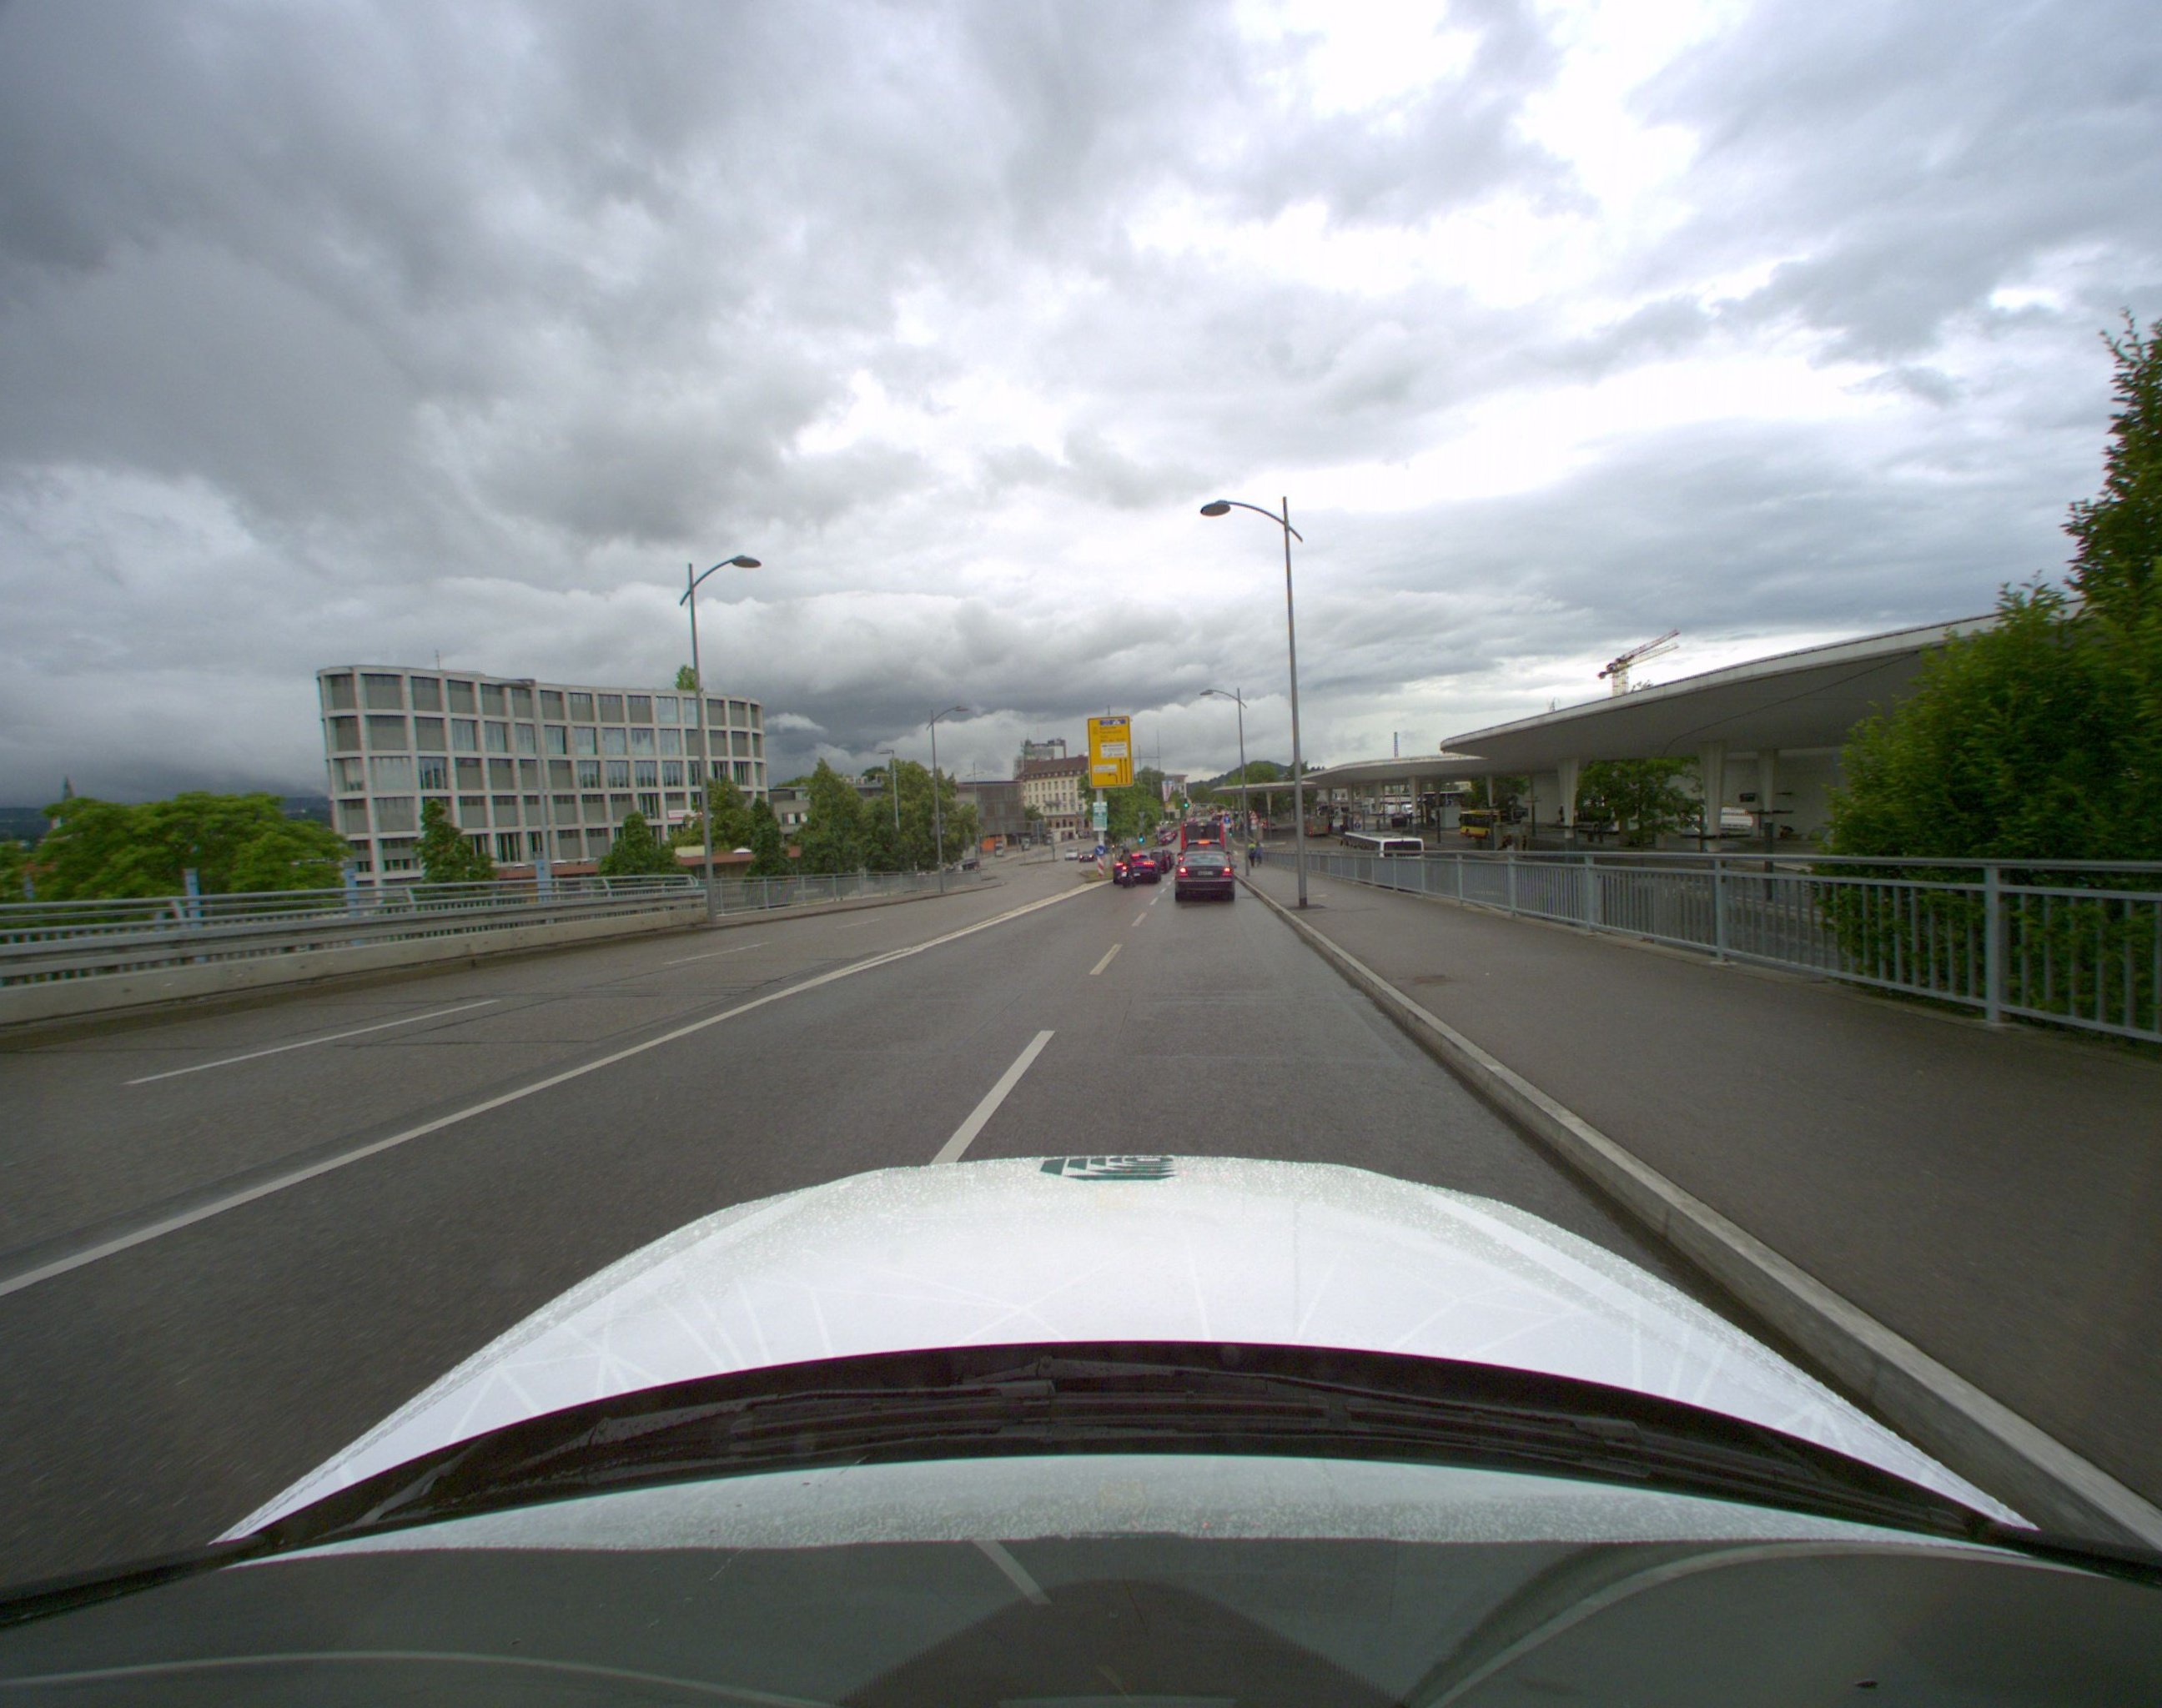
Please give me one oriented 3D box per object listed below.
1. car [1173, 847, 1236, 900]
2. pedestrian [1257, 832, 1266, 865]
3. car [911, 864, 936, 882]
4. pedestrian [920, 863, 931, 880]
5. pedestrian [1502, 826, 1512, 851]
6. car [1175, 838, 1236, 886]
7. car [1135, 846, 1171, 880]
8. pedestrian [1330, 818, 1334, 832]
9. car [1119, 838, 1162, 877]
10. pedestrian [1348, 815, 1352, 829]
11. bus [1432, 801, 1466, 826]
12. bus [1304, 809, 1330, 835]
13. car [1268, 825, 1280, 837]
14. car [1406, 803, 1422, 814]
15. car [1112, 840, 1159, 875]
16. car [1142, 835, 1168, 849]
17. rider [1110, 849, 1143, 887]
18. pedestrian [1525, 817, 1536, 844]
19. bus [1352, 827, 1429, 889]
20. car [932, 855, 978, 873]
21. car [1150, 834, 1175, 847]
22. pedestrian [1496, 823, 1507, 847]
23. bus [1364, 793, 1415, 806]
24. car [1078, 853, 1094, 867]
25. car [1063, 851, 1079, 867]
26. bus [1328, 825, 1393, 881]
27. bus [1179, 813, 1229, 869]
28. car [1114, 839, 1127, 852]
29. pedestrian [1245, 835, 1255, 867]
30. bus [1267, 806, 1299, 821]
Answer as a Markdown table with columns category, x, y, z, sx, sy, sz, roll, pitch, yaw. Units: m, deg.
| category | x | y | z | sx | sy | sz | roll | pitch | yaw |
| --- | --- | --- | --- | --- | --- | --- | --- | --- | --- |
| car | 3.668 | 0.509 | 24.047 | 1.696 | 1.419 | 3.735 | 0 | 1 | 9 |
| pedestrian | 11.503 | -0.347 | 51.882 | 0.421 | 2.014 | 0.485 | -3 | -2 | 10 |
| car | -19.522 | 2.326 | 100.909 | 2.005 | 2.013 | 3.964 | 1 | 1 | -28 |
| pedestrian | -12.883 | 1.442 | 67.564 | 0.644 | 1.408 | 0.532 | -3 | 2 | 11 |
| pedestrian | 34.633 | -1.272 | 66.203 | 0.540 | 2.013 | 0.581 | -3 | 0 | 9 |
| car | 4.838 | 0.270 | 31.267 | 1.813 | 1.687 | 4.017 | -1 | 1 | 15 |
| car | 4.577 | 0.513 | 51.389 | 1.982 | 2.006 | 4.009 | -1 | 1 | 8 |
| pedestrian | 37.373 | -4.310 | 121.332 | 0.421 | 2.013 | 0.485 | -3 | 0 | 10 |
| car | 3.296 | 0.133 | 44.487 | 1.982 | 2.006 | 4.011 | -1 | 1 | 9 |
| pedestrian | 39.364 | -4.638 | 119.099 | 0.421 | 2.014 | 0.485 | -3 | -2 | 10 |
| bus | 50.949 | -5.662 | 113.055 | 2.584 | 3.209 | 7.015 | -3 | 2 | 10 |
| bus | 35.515 | -4.785 | 122.858 | 3.156 | 3.600 | 10.549 | -3 | 1 | 13 |
| car | 35.284 | -4.262 | 148.744 | 1.979 | 2.013 | 4.016 | -3 | 1 | 14 |
| car | 67.269 | -9.146 | 164.578 | 1.982 | 2.013 | 4.010 | -3 | 2 | 8 |
| car | 2.507 | 0.105 | 36.532 | 1.750 | 1.436 | 4.010 | -1 | 1 | 9 |
| car | 12.054 | -2.016 | 132.846 | 3.960 | 2.013 | 2.007 | -3 | 1 | 12 |
| rider | 1.848 | 0.539 | 32.646 | 0.874 | 1.472 | 2.205 | -1 | 1 | 14 |
| pedestrian | 34.384 | -1.808 | 62.315 | 0.480 | 2.013 | 0.562 | -3 | 0 | 2 |
| bus | 18.962 | 0.125 | 50.356 | 2.633 | 3.235 | 7.084 | -1 | 4 | 5 |
| car | -16.603 | 1.337 | 107.815 | 5.656 | 2.013 | 1.978 | -4 | 2 | -37 |
| car | 13.845 | -2.338 | 138.899 | 3.960 | 2.013 | 2.007 | -3 | 1 | 12 |
| pedestrian | 34.900 | -1.569 | 67.567 | 0.540 | 2.013 | 0.581 | -3 | 0 | 9 |
| bus | 66.948 | -11.853 | 176.937 | 10.118 | 2.013 | 2.173 | -3 | 1 | 5 |
| car | 0.678 | 0.779 | 103.929 | 1.826 | 1.526 | 4.596 | -3 | 1 | 1 |
| car | -1.387 | 0.658 | 112.671 | 1.986 | 2.013 | 4.001 | -3 | 0 | 1 |
| bus | 19.579 | -0.168 | 57.464 | 2.633 | 3.235 | 7.084 | -3 | 4 | 5 |
| bus | 7.871 | -0.812 | 52.295 | 2.811 | 3.189 | 10.333 | -1 | 1 | 8 |
| car | 6.739 | -1.379 | 139.364 | 1.986 | 2.013 | 4.204 | -3 | -1 | 2 |
| pedestrian | 10.789 | -0.193 | 51.978 | 0.486 | 2.014 | 0.471 | -3 | -2 | 10 |
| bus | 49.651 | -9.931 | 200.550 | 7.164 | 3.396 | 3.086 | -3 | 2 | 4 |
